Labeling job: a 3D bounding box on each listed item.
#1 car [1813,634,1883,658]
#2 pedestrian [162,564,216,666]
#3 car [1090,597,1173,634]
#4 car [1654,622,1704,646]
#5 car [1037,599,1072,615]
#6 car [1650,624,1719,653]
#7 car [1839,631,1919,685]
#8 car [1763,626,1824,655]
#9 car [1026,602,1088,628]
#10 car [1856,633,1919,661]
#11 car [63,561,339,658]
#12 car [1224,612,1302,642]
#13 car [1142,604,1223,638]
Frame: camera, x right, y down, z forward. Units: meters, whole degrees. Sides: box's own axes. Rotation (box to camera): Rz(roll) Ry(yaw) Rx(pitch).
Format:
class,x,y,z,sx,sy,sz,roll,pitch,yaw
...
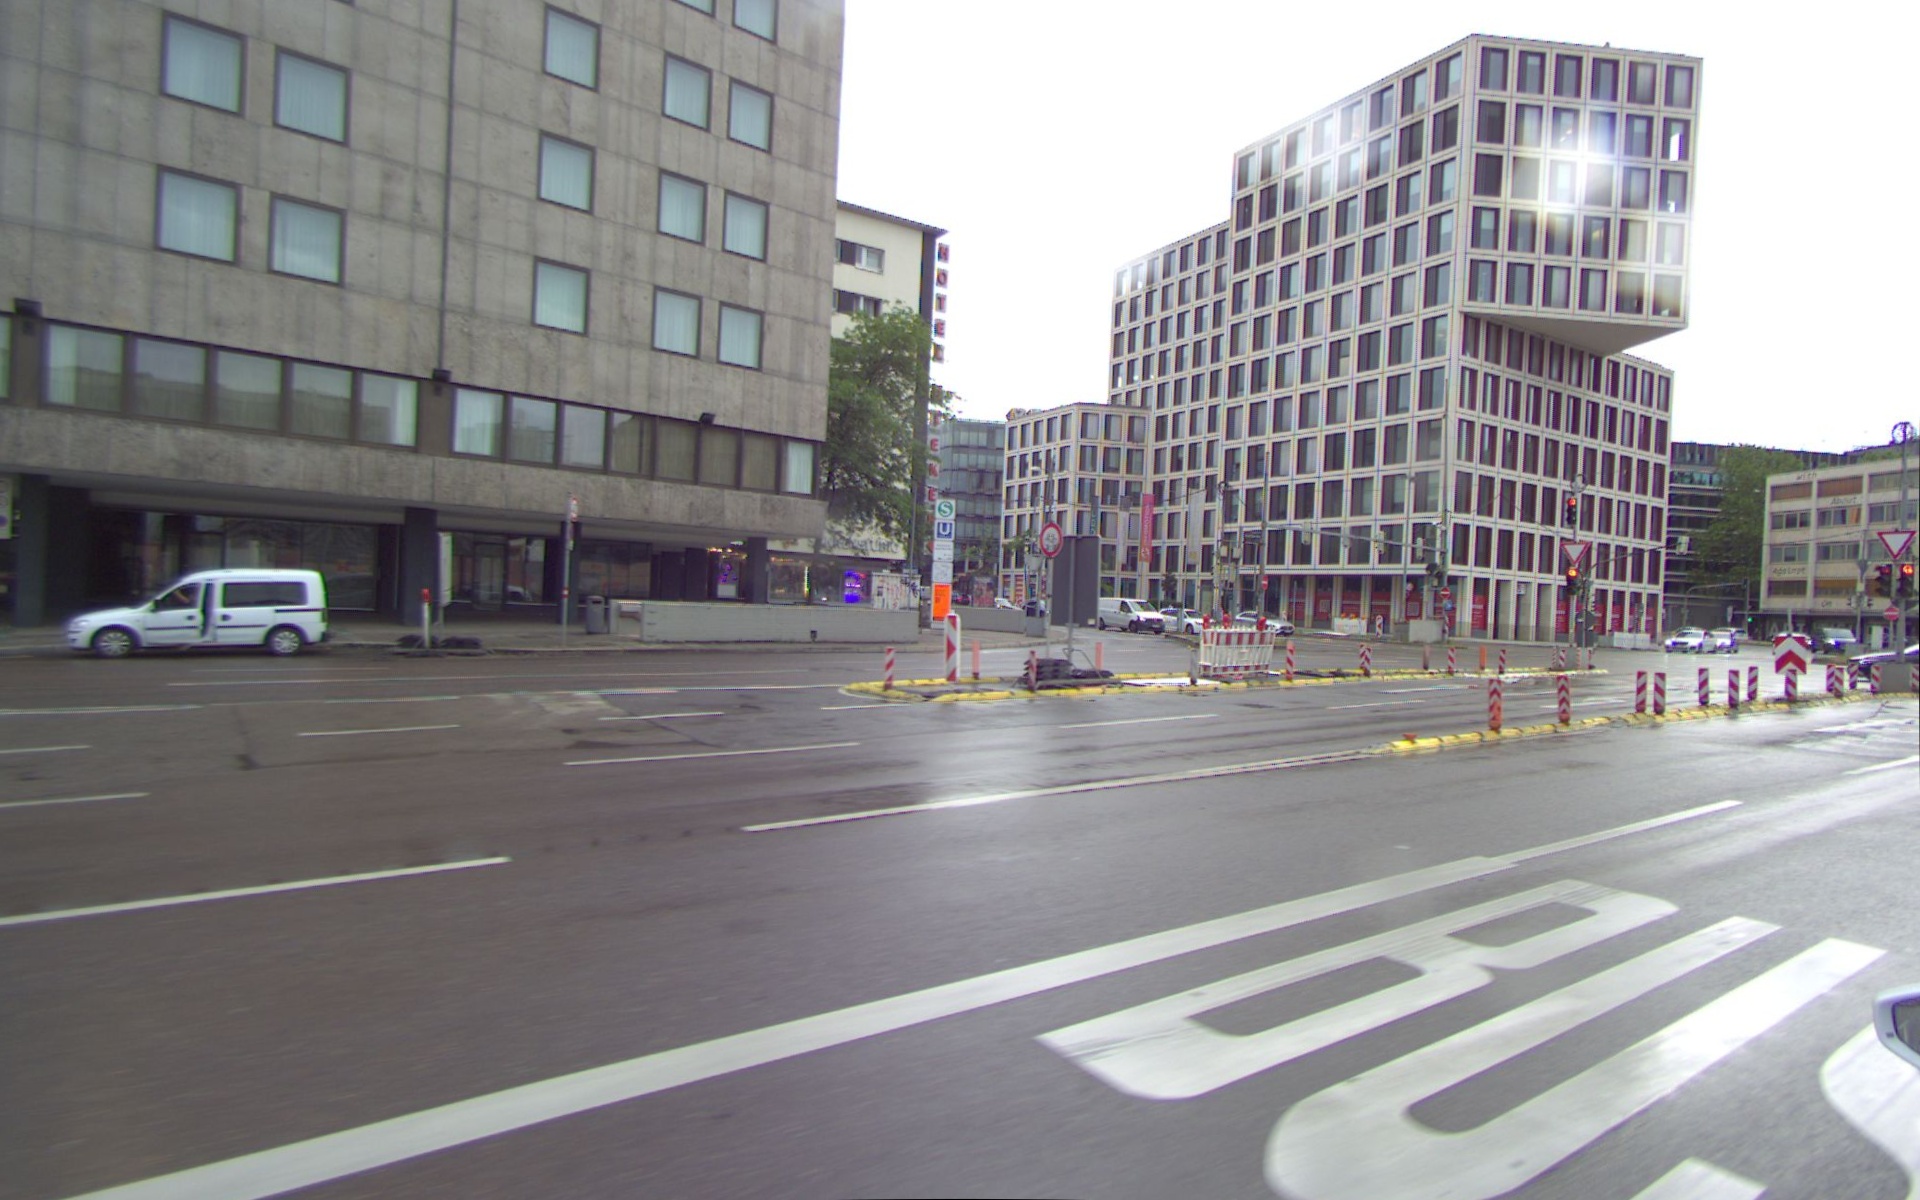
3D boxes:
class,x,y,z,sx,sy,sz,roll,pitch,yaw
car,63.373,3.248,71.753,1.852,1.578,4.003,2,-1,8
pedestrian,-14.832,0.277,19.343,0.789,1.911,0.686,1,1,-38
car,9.666,0.858,57.016,2.060,1.930,5.050,2,0,-26
car,62.371,2.911,87.224,1.769,1.840,4.002,2,0,6
car,10.102,0.763,107.349,1.843,1.543,3.973,2,0,-26
car,47.516,2.524,65.829,4.764,1.776,2.208,2,-1,-35
car,31.479,1.918,32.200,4.579,1.619,2.015,2,0,29
car,56.735,2.762,68.365,3.951,1.840,1.792,1,0,-29
car,6.794,1.041,70.858,1.995,1.619,4.624,2,0,-31
car,78.552,3.925,84.883,1.961,2.040,4.000,3,1,1
car,-15.357,0.210,20.582,4.332,1.786,1.761,2,0,-38
car,18.407,1.595,61.202,1.991,1.619,4.635,2,0,-24
car,12.788,1.195,57.983,1.994,1.761,4.627,2,0,-29
